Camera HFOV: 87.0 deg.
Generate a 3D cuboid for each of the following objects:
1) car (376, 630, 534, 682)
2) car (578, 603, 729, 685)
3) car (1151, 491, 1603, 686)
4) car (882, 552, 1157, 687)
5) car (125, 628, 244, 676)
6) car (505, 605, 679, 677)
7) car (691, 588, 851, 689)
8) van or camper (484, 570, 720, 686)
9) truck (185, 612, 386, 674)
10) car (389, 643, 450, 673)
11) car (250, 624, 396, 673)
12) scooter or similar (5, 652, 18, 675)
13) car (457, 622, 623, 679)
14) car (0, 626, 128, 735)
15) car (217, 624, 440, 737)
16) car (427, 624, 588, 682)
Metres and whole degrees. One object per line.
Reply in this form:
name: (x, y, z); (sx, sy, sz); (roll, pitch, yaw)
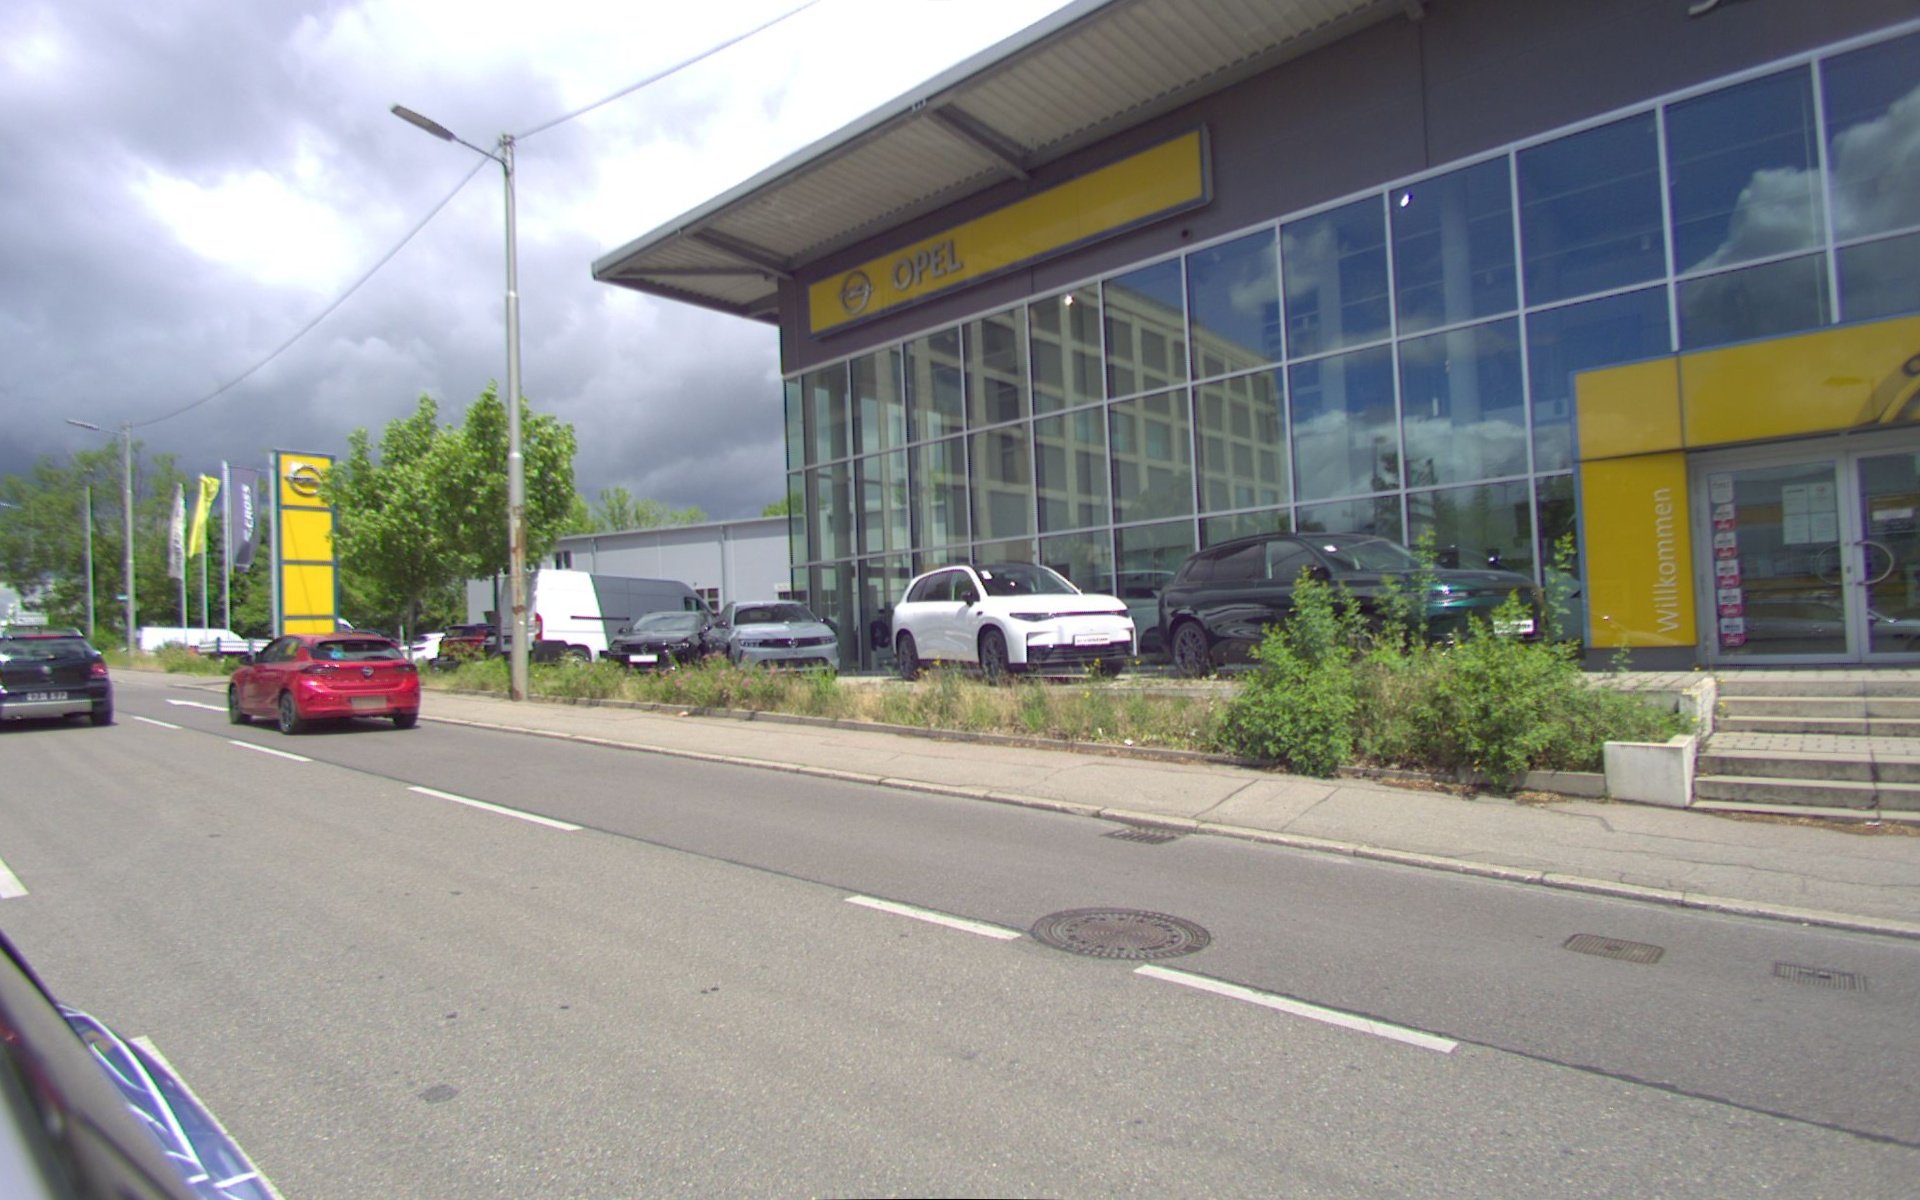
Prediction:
car: (-15.700, 1.695, 31.591); (1.998, 1.420, 3.947); (-2, -1, 40)
car: (-6.330, 0.895, 21.462); (1.915, 1.520, 4.477); (-1, -2, -1)
car: (4.285, -0.010, 11.336); (1.965, 1.711, 4.499); (-2, -2, -23)
car: (0.616, 0.294, 14.360); (1.903, 1.585, 4.568); (-1, -2, -25)
car: (-36.944, 2.448, 48.295); (2.196, 2.029, 4.120); (-5, -3, 39)
car: (-9.932, 1.094, 27.463); (3.940, 1.719, 2.002); (-1, -3, -44)
car: (-3.499, 0.711, 17.927); (1.868, 1.462, 4.847); (-2, -2, -21)
van or camper: (-8.720, 0.680, 25.044); (2.315, 2.550, 4.977); (-5, -3, 39)
truck: (-25.213, 1.562, 38.058); (2.473, 2.164, 5.805); (-2, -2, 38)
car: (-33.070, 3.553, 61.823); (4.916, 1.742, 1.816); (-4, -3, 43)
car: (-22.187, 1.740, 35.351); (1.753, 1.601, 3.944); (-5, -6, 41)
scooter or similar: (-55.673, 3.734, 59.395); (0.528, 1.275, 1.473); (-2, -2, -43)
car: (-11.981, 1.406, 29.028); (1.927, 1.420, 3.946); (-2, -1, 40)
car: (-14.829, 1.210, 16.015); (4.273, 1.520, 1.811); (-2, -2, 40)
car: (-9.750, 1.180, 15.530); (3.847, 1.503, 1.851); (-3, -4, 42)
car: (-13.575, 1.573, 30.461); (2.000, 1.503, 3.943); (-5, -3, 43)
